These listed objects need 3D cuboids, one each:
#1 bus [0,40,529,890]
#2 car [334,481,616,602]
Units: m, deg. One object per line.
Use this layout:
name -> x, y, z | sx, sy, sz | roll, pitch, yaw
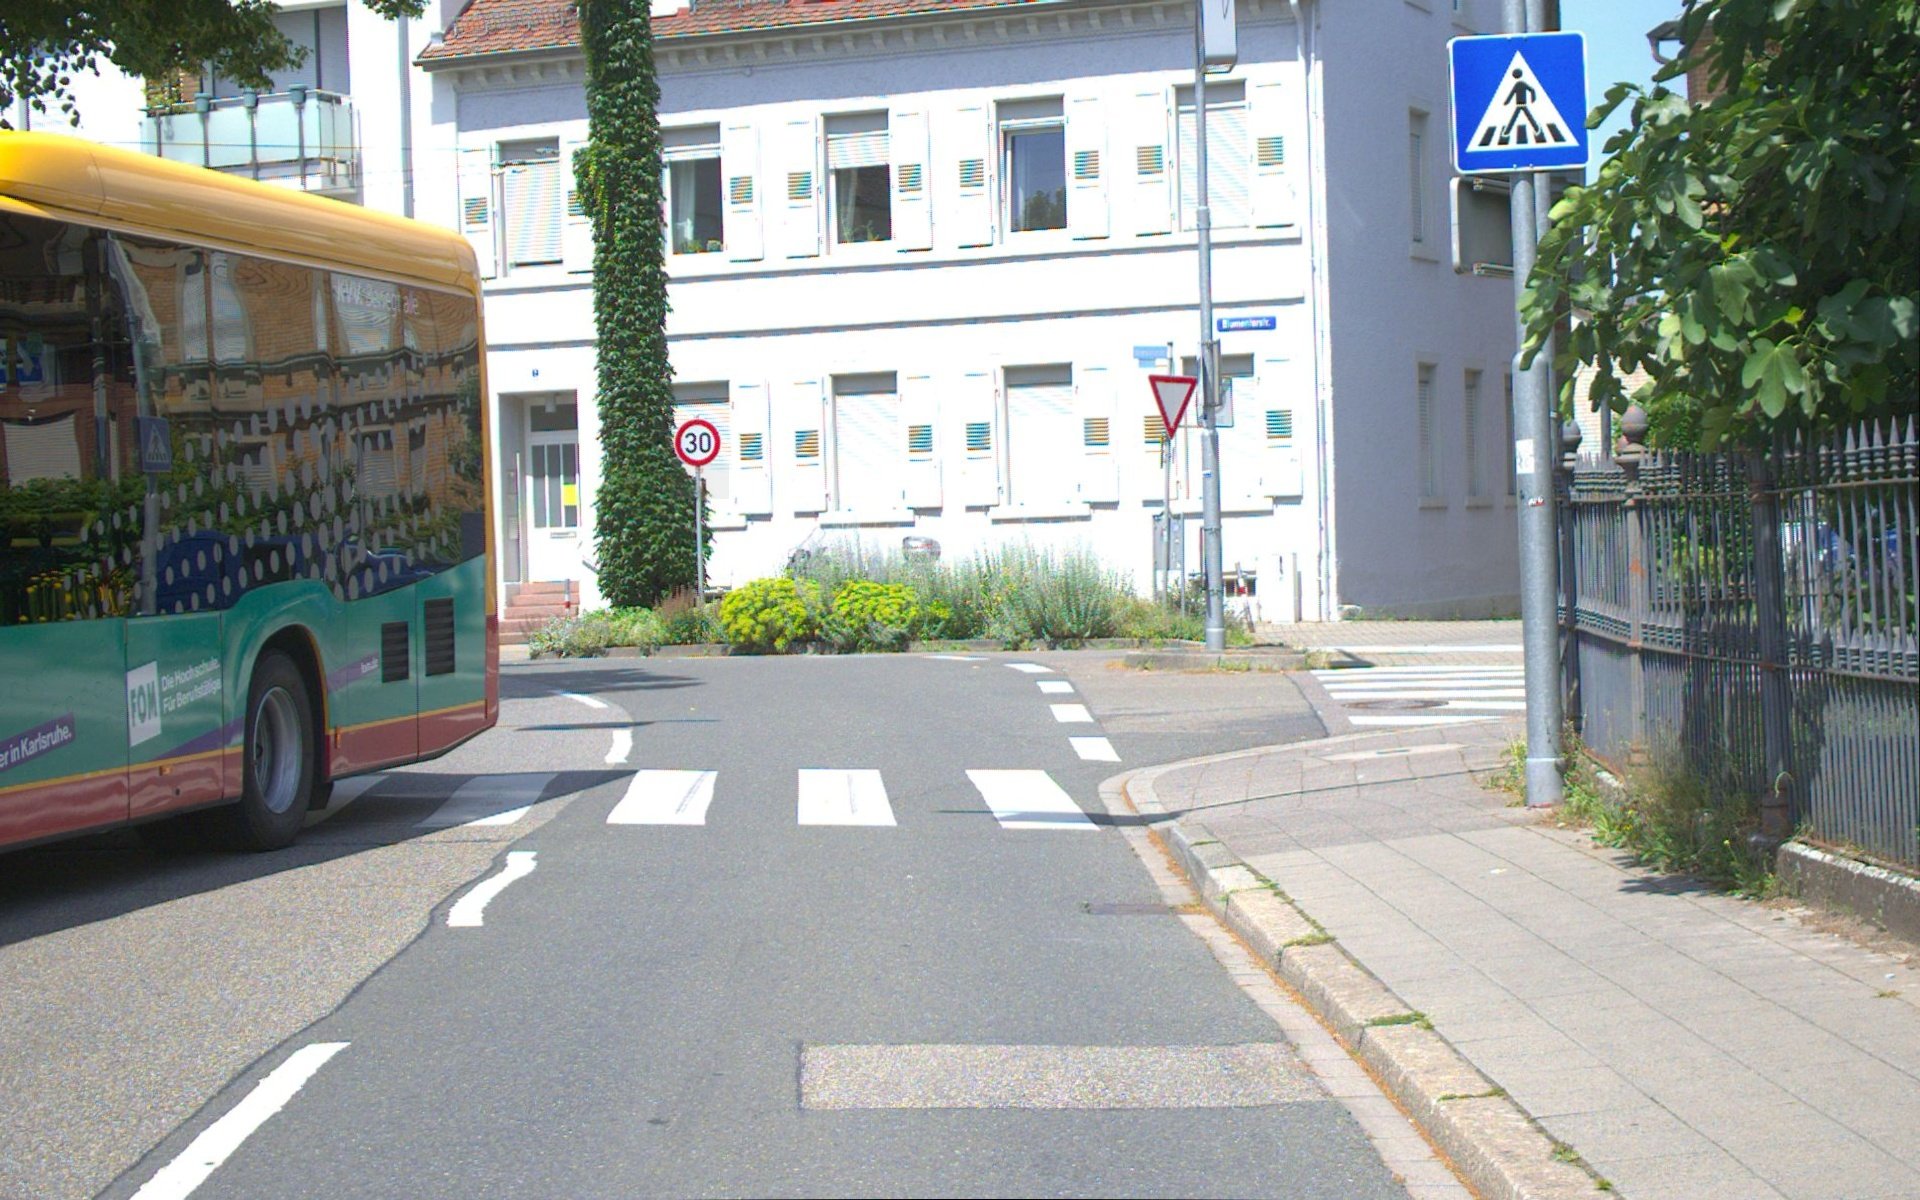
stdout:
bus -> -4.919, -0.524, 13.543 | 2.781, 3.197, 12.302 | 0, 2, 11
car -> -6.626, -0.767, 46.900 | 3.612, 1.581, 1.581 | 0, 0, 30
